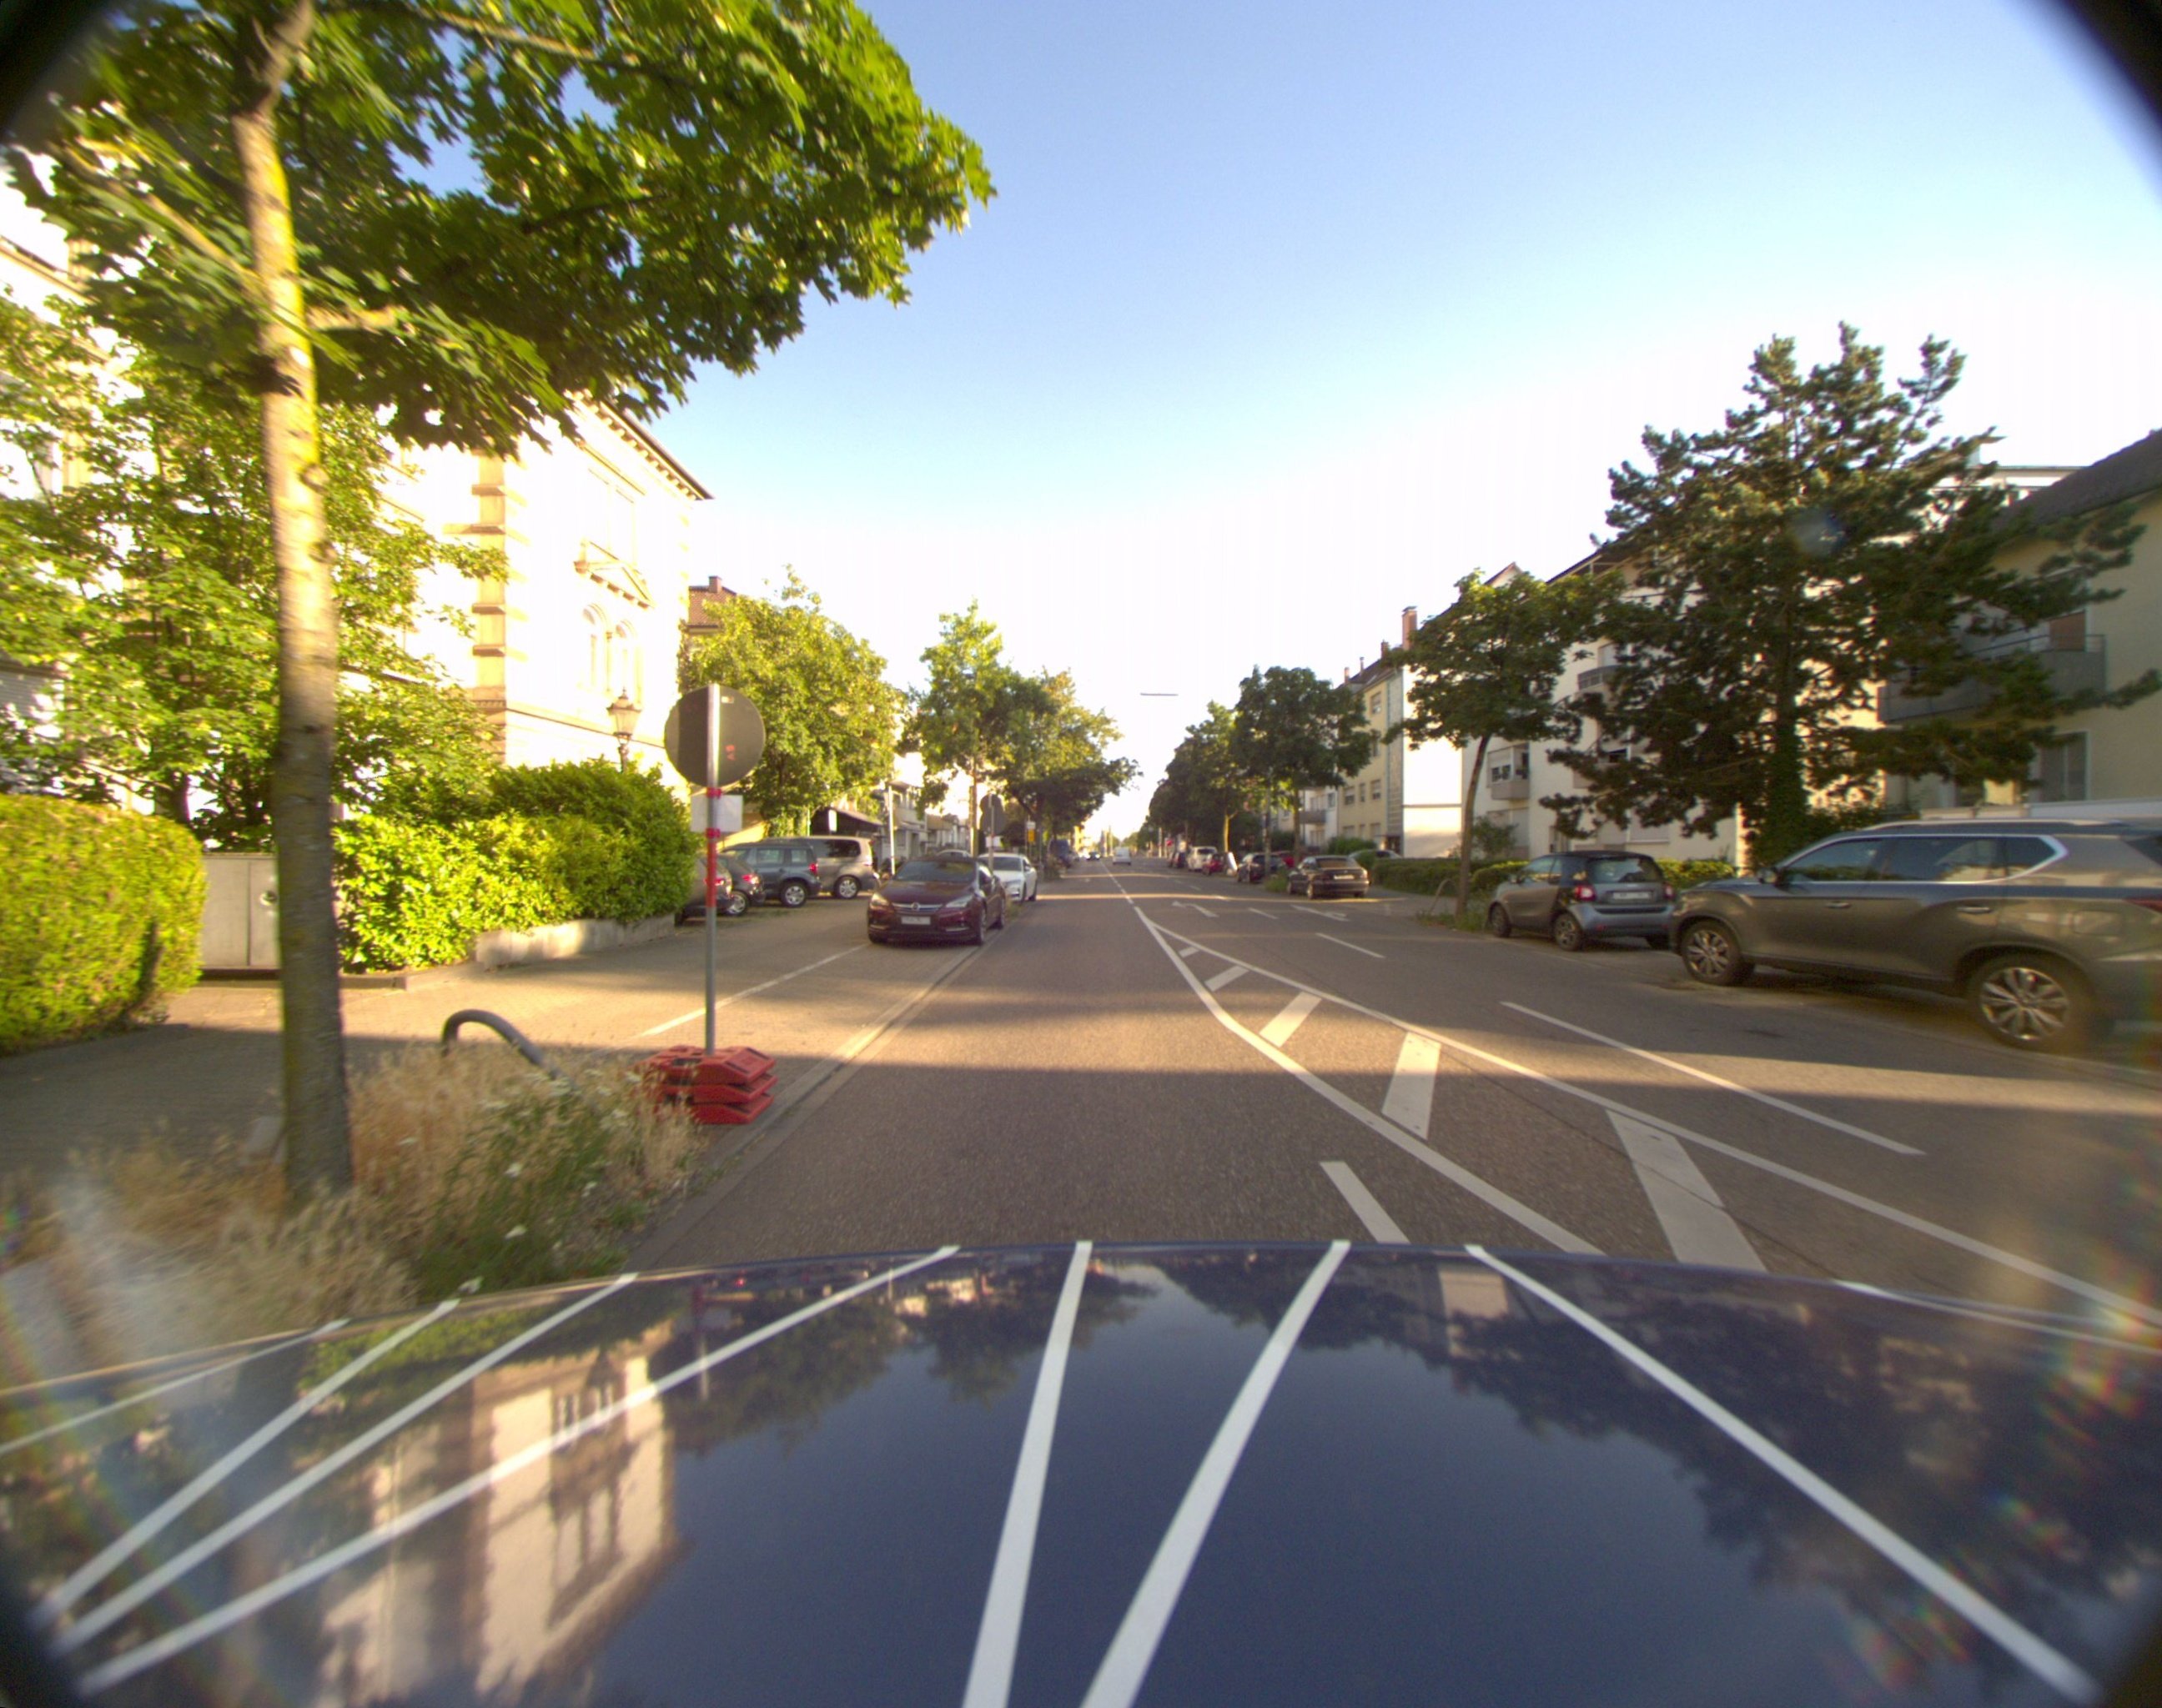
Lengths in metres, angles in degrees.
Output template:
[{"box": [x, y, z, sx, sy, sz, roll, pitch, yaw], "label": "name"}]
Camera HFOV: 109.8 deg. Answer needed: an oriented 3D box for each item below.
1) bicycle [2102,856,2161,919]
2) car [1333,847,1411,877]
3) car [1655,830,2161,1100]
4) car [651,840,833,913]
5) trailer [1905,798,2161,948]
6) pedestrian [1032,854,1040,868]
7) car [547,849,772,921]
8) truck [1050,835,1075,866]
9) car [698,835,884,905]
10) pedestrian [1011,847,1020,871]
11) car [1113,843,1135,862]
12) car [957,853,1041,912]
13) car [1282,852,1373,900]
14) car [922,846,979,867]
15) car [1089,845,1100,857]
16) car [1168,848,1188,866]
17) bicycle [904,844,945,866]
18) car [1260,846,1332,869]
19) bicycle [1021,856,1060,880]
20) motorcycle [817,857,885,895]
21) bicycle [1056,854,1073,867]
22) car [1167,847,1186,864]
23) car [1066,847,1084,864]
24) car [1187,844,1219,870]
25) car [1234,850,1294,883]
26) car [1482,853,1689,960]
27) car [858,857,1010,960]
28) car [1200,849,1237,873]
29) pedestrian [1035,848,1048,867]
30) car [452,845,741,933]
[{"box": [18.590, 0.580, 12.608, 0.520, 1.057, 2.046, 0, 1, 1], "label": "bicycle"}, {"box": [15.274, 0.406, 40.036, 3.467, 1.515, 1.686, 0, 1, 2], "label": "car"}, {"box": [8.017, 0.699, 6.978, 1.892, 1.769, 4.725, 0, 1, 0], "label": "car"}, {"box": [-8.658, 0.524, 19.505, 4.106, 1.690, 1.783, 0, 1, -29], "label": "car"}, {"box": [14.095, 0.246, 10.933, 2.780, 2.002, 1.552, 0, 1, -1], "label": "trailer"}, {"box": [-3.348, 0.517, 56.879, 0.553, 1.053, 0.532, 0, 1, 2], "label": "pedestrian"}, {"box": [-9.024, 0.665, 16.674, 4.105, 1.433, 1.713, 1, 0, -22], "label": "car"}, {"box": [-1.593, -0.335, 68.495, 1.998, 2.629, 5.615, 0, 1, 1], "label": "truck"}, {"box": [-8.576, 0.411, 22.574, 4.946, 1.889, 1.916, -1, 1, -28], "label": "car"}, {"box": [-4.790, 0.389, 55.711, 0.619, 1.762, 0.562, 0, 0, 2], "label": "pedestrian"}, {"box": [4.407, -0.187, 78.784, 1.893, 1.793, 4.430, 2, 1, -1], "label": "car"}, {"box": [-2.267, 0.745, 22.093, 1.825, 1.469, 4.621, 0, 1, 1], "label": "car"}, {"box": [8.102, 0.670, 25.395, 1.641, 1.399, 4.443, 0, 1, 0], "label": "car"}, {"box": [-9.489, 0.175, 55.422, 3.878, 1.496, 1.575, 0, 1, -4], "label": "car"}, {"box": [2.034, -0.484, 114.179, 1.596, 1.696, 3.999, 0, 1, 1], "label": "car"}, {"box": [8.487, 0.251, 66.880, 1.407, 1.397, 3.682, -2, 1, 2], "label": "car"}, {"box": [-10.136, 0.064, 49.283, 2.459, 1.433, 0.928, 0, 1, -1], "label": "bicycle"}, {"box": [15.248, 0.232, 53.986, 4.563, 1.397, 1.739, -2, 1, -9], "label": "car"}, {"box": [-2.025, 0.702, 38.309, 1.894, 1.155, 0.616, 2, 2, 28], "label": "bicycle"}, {"box": [-7.910, 0.744, 26.196, 2.163, 1.232, 0.789, 0, 1, -9], "label": "motorcycle"}, {"box": [-1.428, 0.546, 64.923, 1.469, 1.058, 0.445, 0, 1, 1], "label": "bicycle"}, {"box": [8.896, 0.161, 71.015, 1.407, 1.456, 3.682, -2, 1, 2], "label": "car"}, {"box": [-0.569, 0.170, 79.900, 1.704, 1.740, 4.000, 0, 1, 2], "label": "car"}, {"box": [8.912, 0.169, 55.751, 1.740, 1.799, 4.191, 0, 1, 1], "label": "car"}, {"box": [8.614, 0.535, 36.065, 1.862, 1.477, 3.999, 0, 1, 0], "label": "car"}, {"box": [8.158, 0.770, 12.574, 1.577, 1.546, 2.749, 0, 1, 0], "label": "car"}, {"box": [-2.414, 0.825, 13.693, 1.761, 1.412, 4.614, 2, 1, 1], "label": "car"}, {"box": [8.783, 0.410, 48.771, 1.740, 1.455, 3.636, 0, 1, 1], "label": "car"}, {"box": [-2.872, 0.249, 55.580, 0.917, 1.436, 0.811, 0, 1, -1], "label": "pedestrian"}, {"box": [-8.887, 0.643, 14.373, 4.255, 1.502, 1.789, 1, 0, -17], "label": "car"}]
